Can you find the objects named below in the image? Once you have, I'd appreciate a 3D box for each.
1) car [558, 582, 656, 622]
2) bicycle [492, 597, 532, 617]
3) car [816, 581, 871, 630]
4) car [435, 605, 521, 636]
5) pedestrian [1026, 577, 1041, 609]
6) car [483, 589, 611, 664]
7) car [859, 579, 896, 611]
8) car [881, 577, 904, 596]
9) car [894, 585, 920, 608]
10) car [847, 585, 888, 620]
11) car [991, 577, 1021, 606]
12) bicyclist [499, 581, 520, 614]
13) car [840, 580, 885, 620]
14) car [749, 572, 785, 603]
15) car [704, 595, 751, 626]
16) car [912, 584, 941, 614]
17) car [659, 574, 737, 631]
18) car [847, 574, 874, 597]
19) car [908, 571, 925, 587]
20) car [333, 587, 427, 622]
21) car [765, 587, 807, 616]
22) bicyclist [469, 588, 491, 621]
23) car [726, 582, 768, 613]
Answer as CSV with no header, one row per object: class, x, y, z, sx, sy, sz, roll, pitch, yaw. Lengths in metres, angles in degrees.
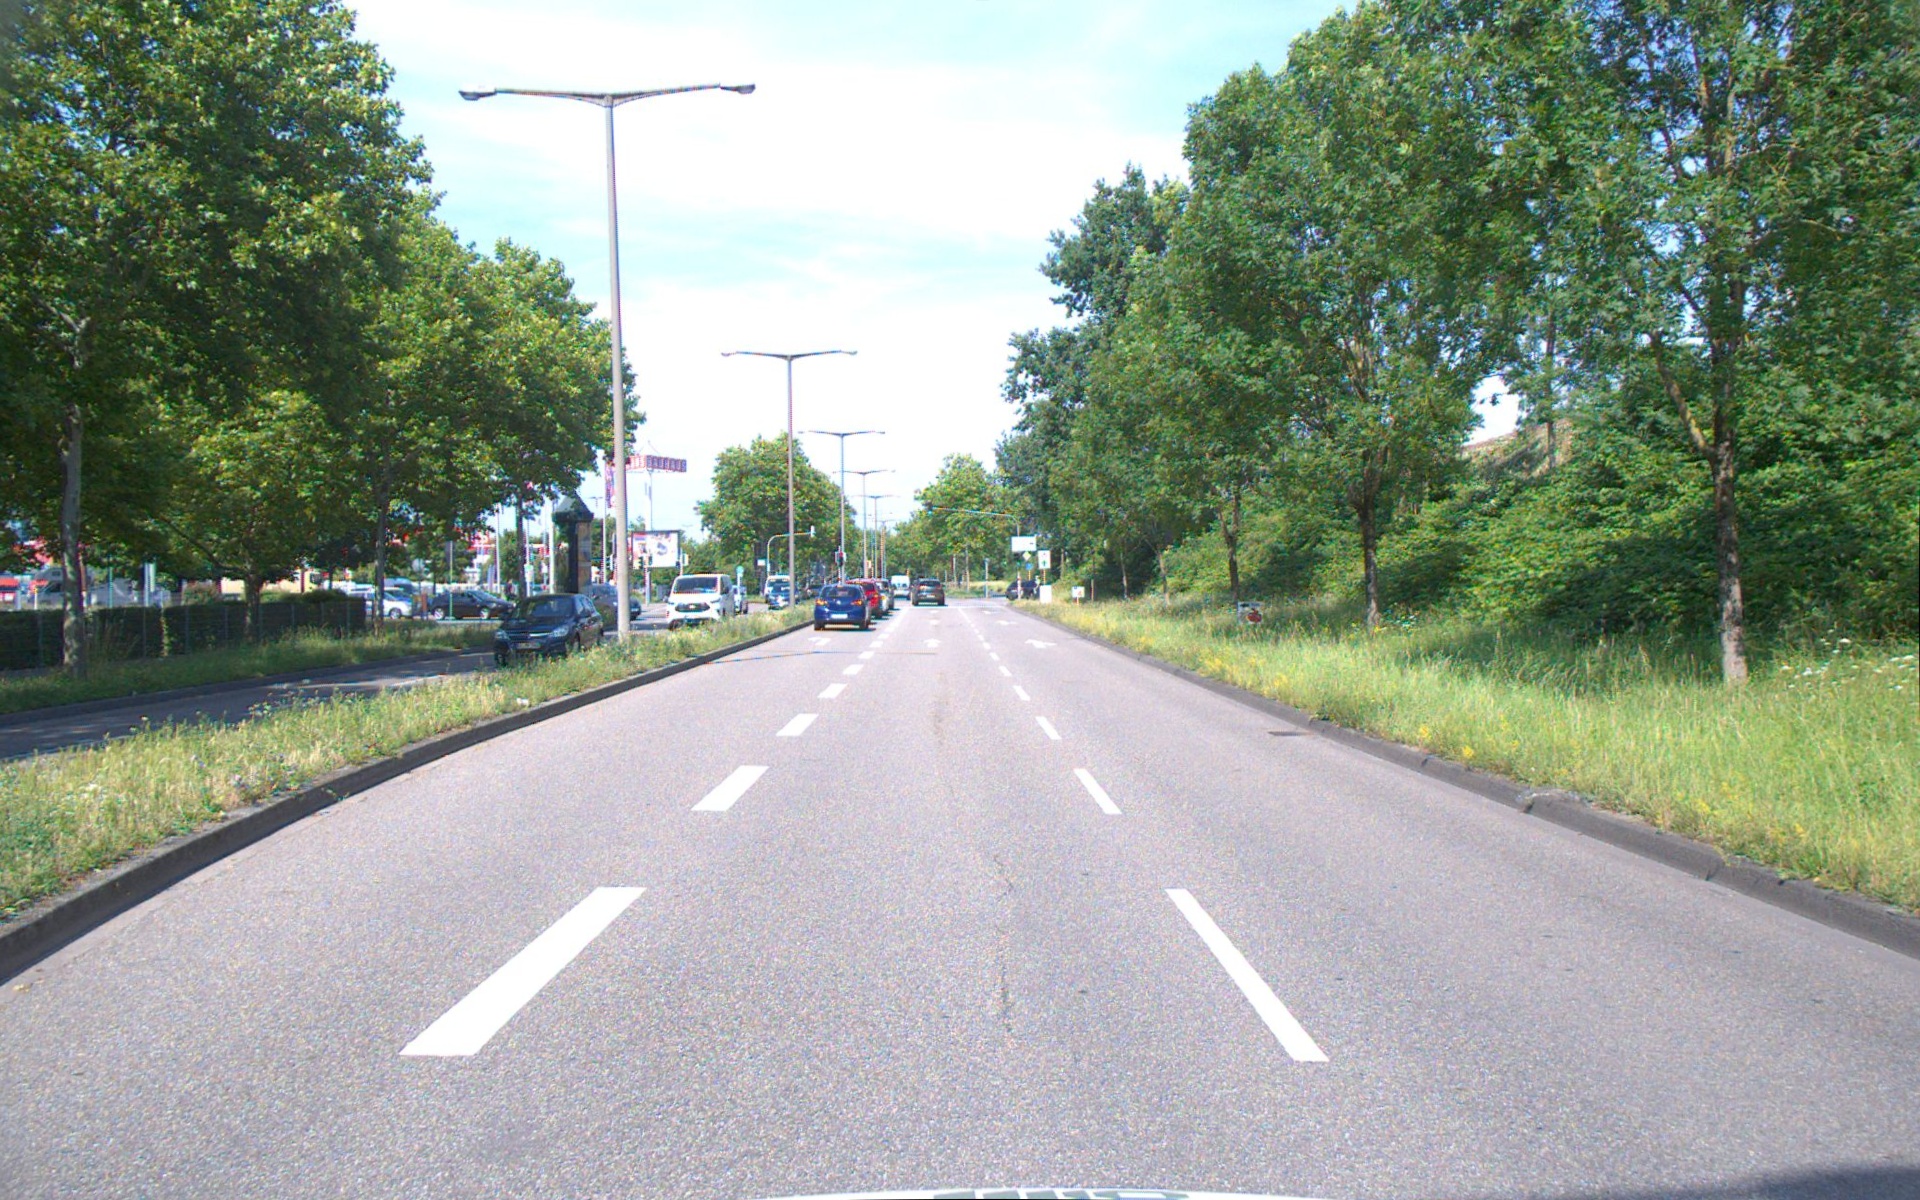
car,-16.534,0.102,77.487,4.301,1.781,1.866,-1,0,29
bicycle,-24.561,0.394,90.699,1.933,1.000,0.779,-2,3,-37
car,-3.811,0.151,54.485,1.593,1.509,4.047,1,1,-1
car,-23.685,0.990,81.283,3.908,1.412,1.764,0,2,26
pedestrian,4.573,-0.433,102.724,0.821,1.966,0.771,0,2,-5
car,-8.859,0.527,35.826,1.732,1.494,4.283,-1,0,-1
car,-4.395,-0.275,88.594,1.843,1.646,4.211,0,0,-2
car,-6.300,-1.286,155.339,1.953,1.738,4.263,-1,0,-1
car,-4.292,-0.296,134.224,1.953,1.774,4.264,-1,0,-1
car,-4.203,0.104,75.444,1.730,1.505,4.134,1,1,-1
car,3.235,-0.601,117.487,1.977,1.869,4.001,0,3,-1
bicyclist,-24.691,-0.145,90.574,0.890,1.745,0.773,-2,3,-37
car,-4.045,-0.035,69.211,1.746,1.620,4.592,0,1,-1
car,-13.458,-0.889,115.488,1.953,2.049,5.212,-1,1,-1
car,-11.626,0.516,83.055,1.751,1.422,4.358,-2,0,-1
car,-1.989,-0.082,99.962,1.701,1.562,4.001,0,3,-1
car,-9.371,0.067,59.467,2.074,1.916,5.417,-1,1,-2
car,-8.250,-1.213,137.491,1.952,1.892,4.000,-1,0,0
car,-5.550,-2.666,210.499,1.954,2.049,3.996,-1,0,-5
car,-29.064,0.236,82.930,4.061,1.631,1.724,-1,0,11
car,-9.970,0.087,95.068,1.953,1.557,4.681,-1,1,-1
bicyclist,-25.756,0.233,88.717,0.890,1.675,0.778,-2,3,-37
car,-12.174,-0.149,94.727,1.937,1.722,3.998,-1,0,-2
